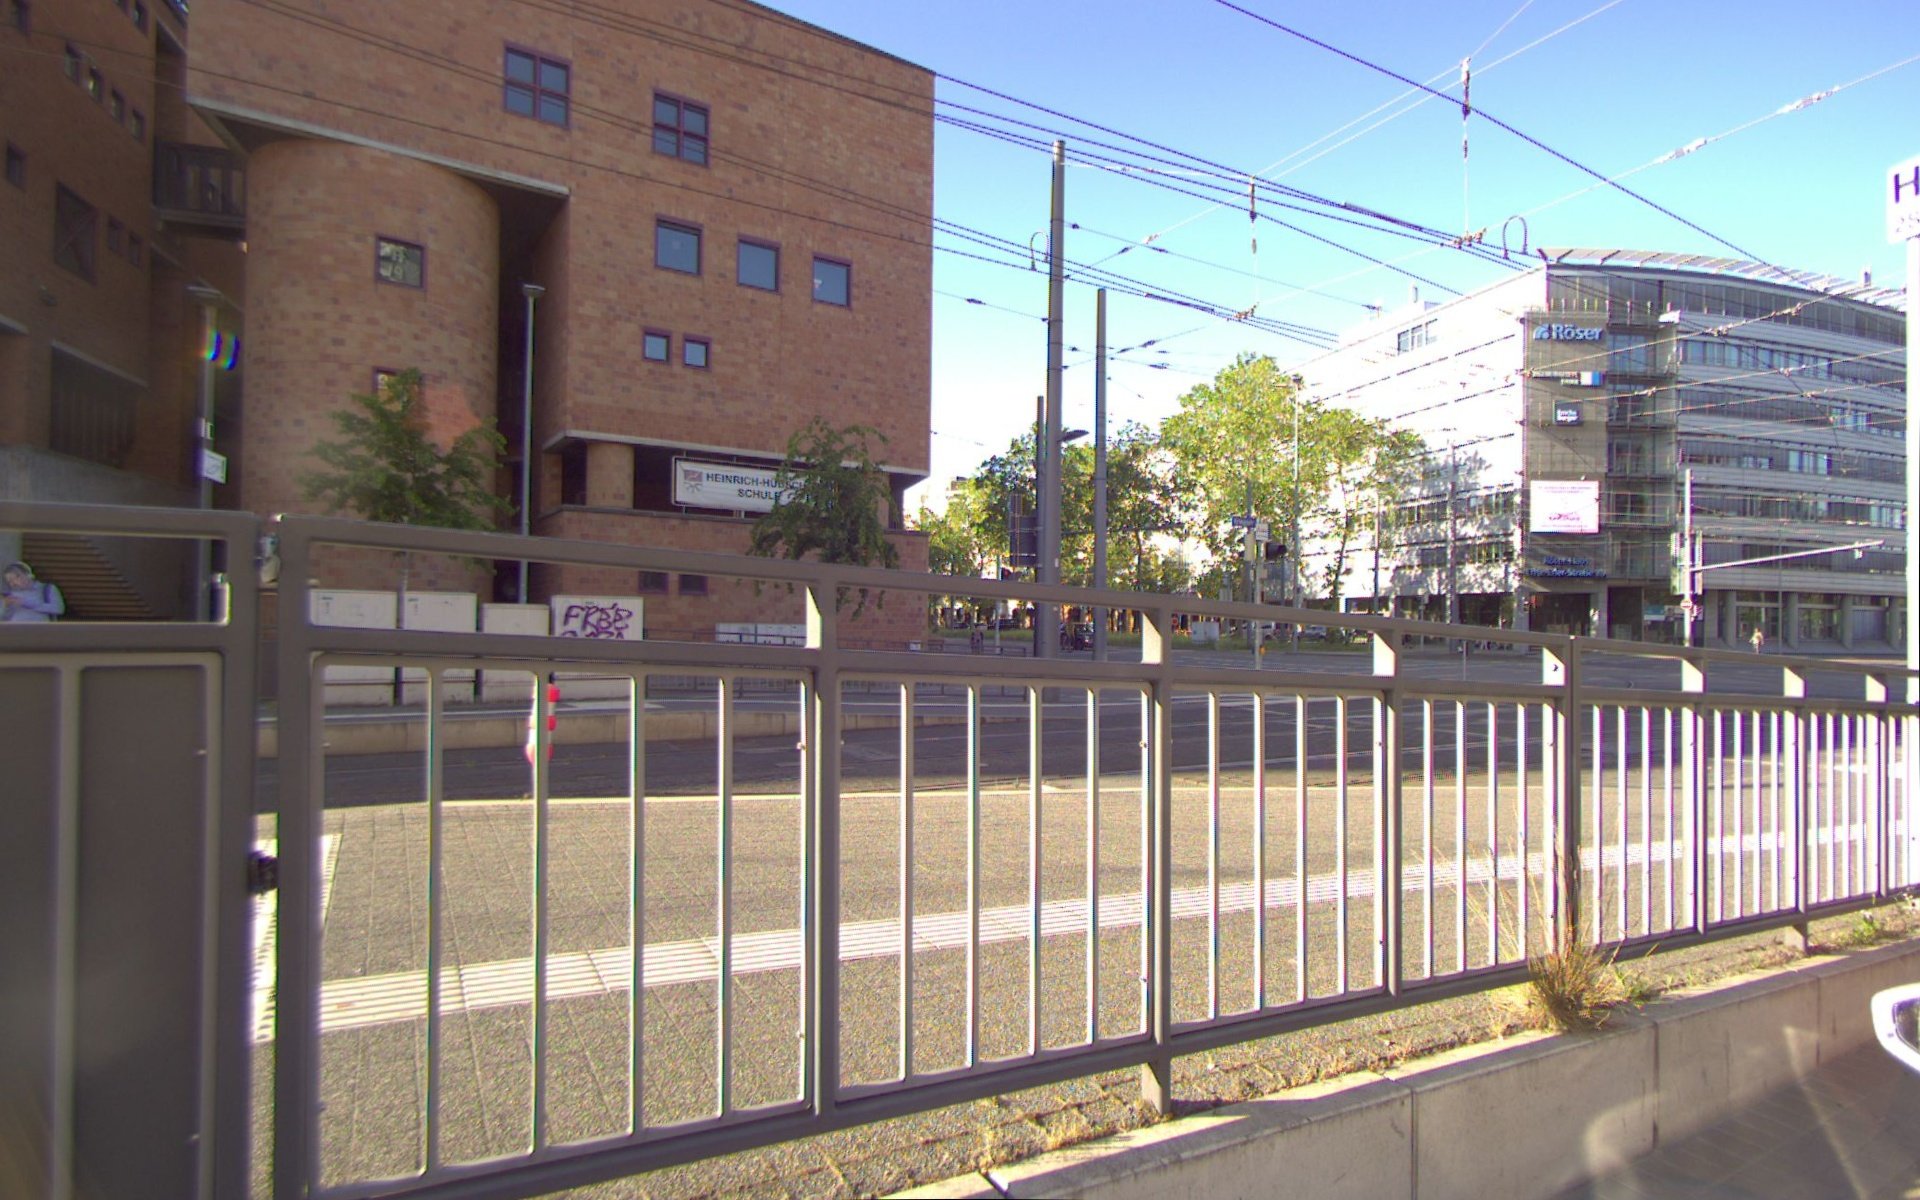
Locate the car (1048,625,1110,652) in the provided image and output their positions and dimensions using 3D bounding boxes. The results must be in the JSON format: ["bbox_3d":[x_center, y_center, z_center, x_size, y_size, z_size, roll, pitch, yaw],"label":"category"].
[{"bbox_3d":[6.684,2.184,56.754,1.637,1.346,3.591,2,0,-31],"label":"car"}]

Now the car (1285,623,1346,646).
[{"bbox_3d":[27.023,2.629,76.416,1.840,1.594,4.387,-1,0,-25],"label":"car"}]

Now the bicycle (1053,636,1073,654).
[{"bbox_3d":[5.402,2.353,52.786,0.528,0.925,1.564,1,-1,-15],"label":"bicycle"}]

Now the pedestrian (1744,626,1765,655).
[{"bbox_3d":[51.596,2.650,65.209,0.871,1.847,0.674,1,-2,-18],"label":"pedestrian"}]

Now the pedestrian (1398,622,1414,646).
[{"bbox_3d":[31.414,2.375,70.744,0.598,1.633,0.832,-2,2,-26],"label":"pedestrian"}]

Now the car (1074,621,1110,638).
[{"bbox_3d":[13.384,2.997,102.213,1.840,1.660,3.844,1,-1,-25],"label":"car"}]

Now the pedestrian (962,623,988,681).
[{"bbox_3d":[0.424,1.502,28.949,0.501,1.639,0.504,2,0,-40],"label":"pedestrian"}]

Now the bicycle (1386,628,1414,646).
[{"bbox_3d":[30.911,2.590,70.592,0.605,1.179,1.835,-2,2,-27],"label":"bicycle"}]

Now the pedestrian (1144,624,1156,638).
[{"bbox_3d":[20.727,3.381,109.424,0.860,1.567,0.989,1,-1,-22],"label":"pedestrian"}]

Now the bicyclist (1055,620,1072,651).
[{"bbox_3d":[5.419,1.852,52.715,0.614,1.643,0.812,1,-1,-16],"label":"bicyclist"}]

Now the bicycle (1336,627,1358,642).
[{"bbox_3d":[30.539,2.739,79.330,1.812,1.167,0.467,0,0,-23],"label":"bicycle"}]

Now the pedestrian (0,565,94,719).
[{"bbox_3d":[-9.649,0.438,10.599,0.647,1.555,0.696,1,-1,-33],"label":"pedestrian"}]

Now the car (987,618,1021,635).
[{"bbox_3d":[5.091,3.090,117.476,2.011,2.003,4.382,0,-1,-29],"label":"car"}]

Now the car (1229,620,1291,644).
[{"bbox_3d":[24.205,2.556,81.267,1.904,1.868,4.889,-1,0,-28],"label":"car"}]
